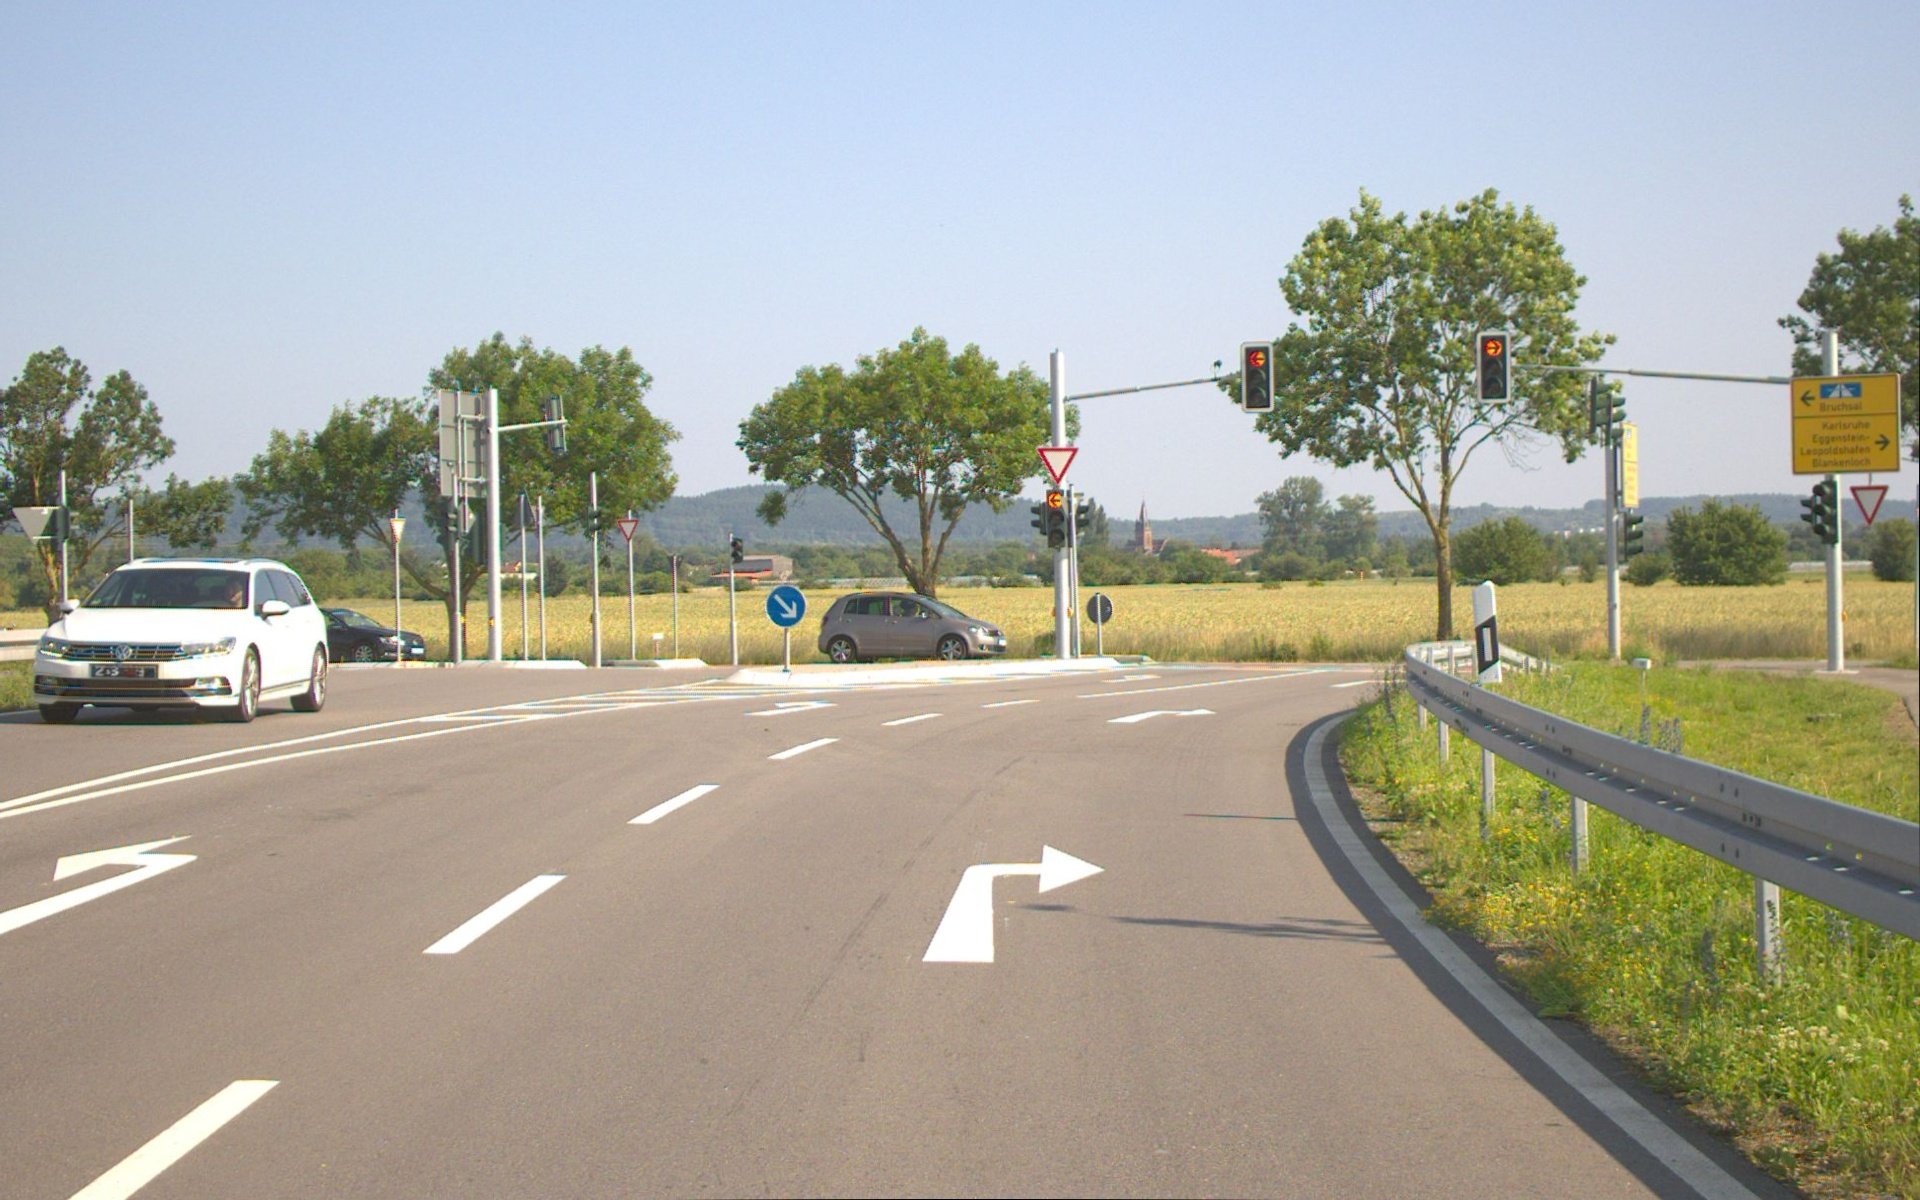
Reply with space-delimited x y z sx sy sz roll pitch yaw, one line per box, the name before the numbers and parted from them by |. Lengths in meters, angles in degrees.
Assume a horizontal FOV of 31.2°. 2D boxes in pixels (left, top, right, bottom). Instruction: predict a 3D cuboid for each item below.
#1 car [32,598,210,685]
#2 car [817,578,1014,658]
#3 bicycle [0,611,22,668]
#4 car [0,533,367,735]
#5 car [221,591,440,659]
car | -17.737 0.903 72.537 1.692 1.668 4.861 3 -4 -39
car | -0.969 0.392 75.508 3.958 1.662 1.762 1 0 15
bicycle | -24.777 0.970 86.245 2.494 1.392 0.731 1 -1 25
car | -7.041 0.238 31.468 2.115 1.488 5.153 1 3 2
car | -14.716 0.575 80.414 4.677 1.514 1.920 0 1 20
